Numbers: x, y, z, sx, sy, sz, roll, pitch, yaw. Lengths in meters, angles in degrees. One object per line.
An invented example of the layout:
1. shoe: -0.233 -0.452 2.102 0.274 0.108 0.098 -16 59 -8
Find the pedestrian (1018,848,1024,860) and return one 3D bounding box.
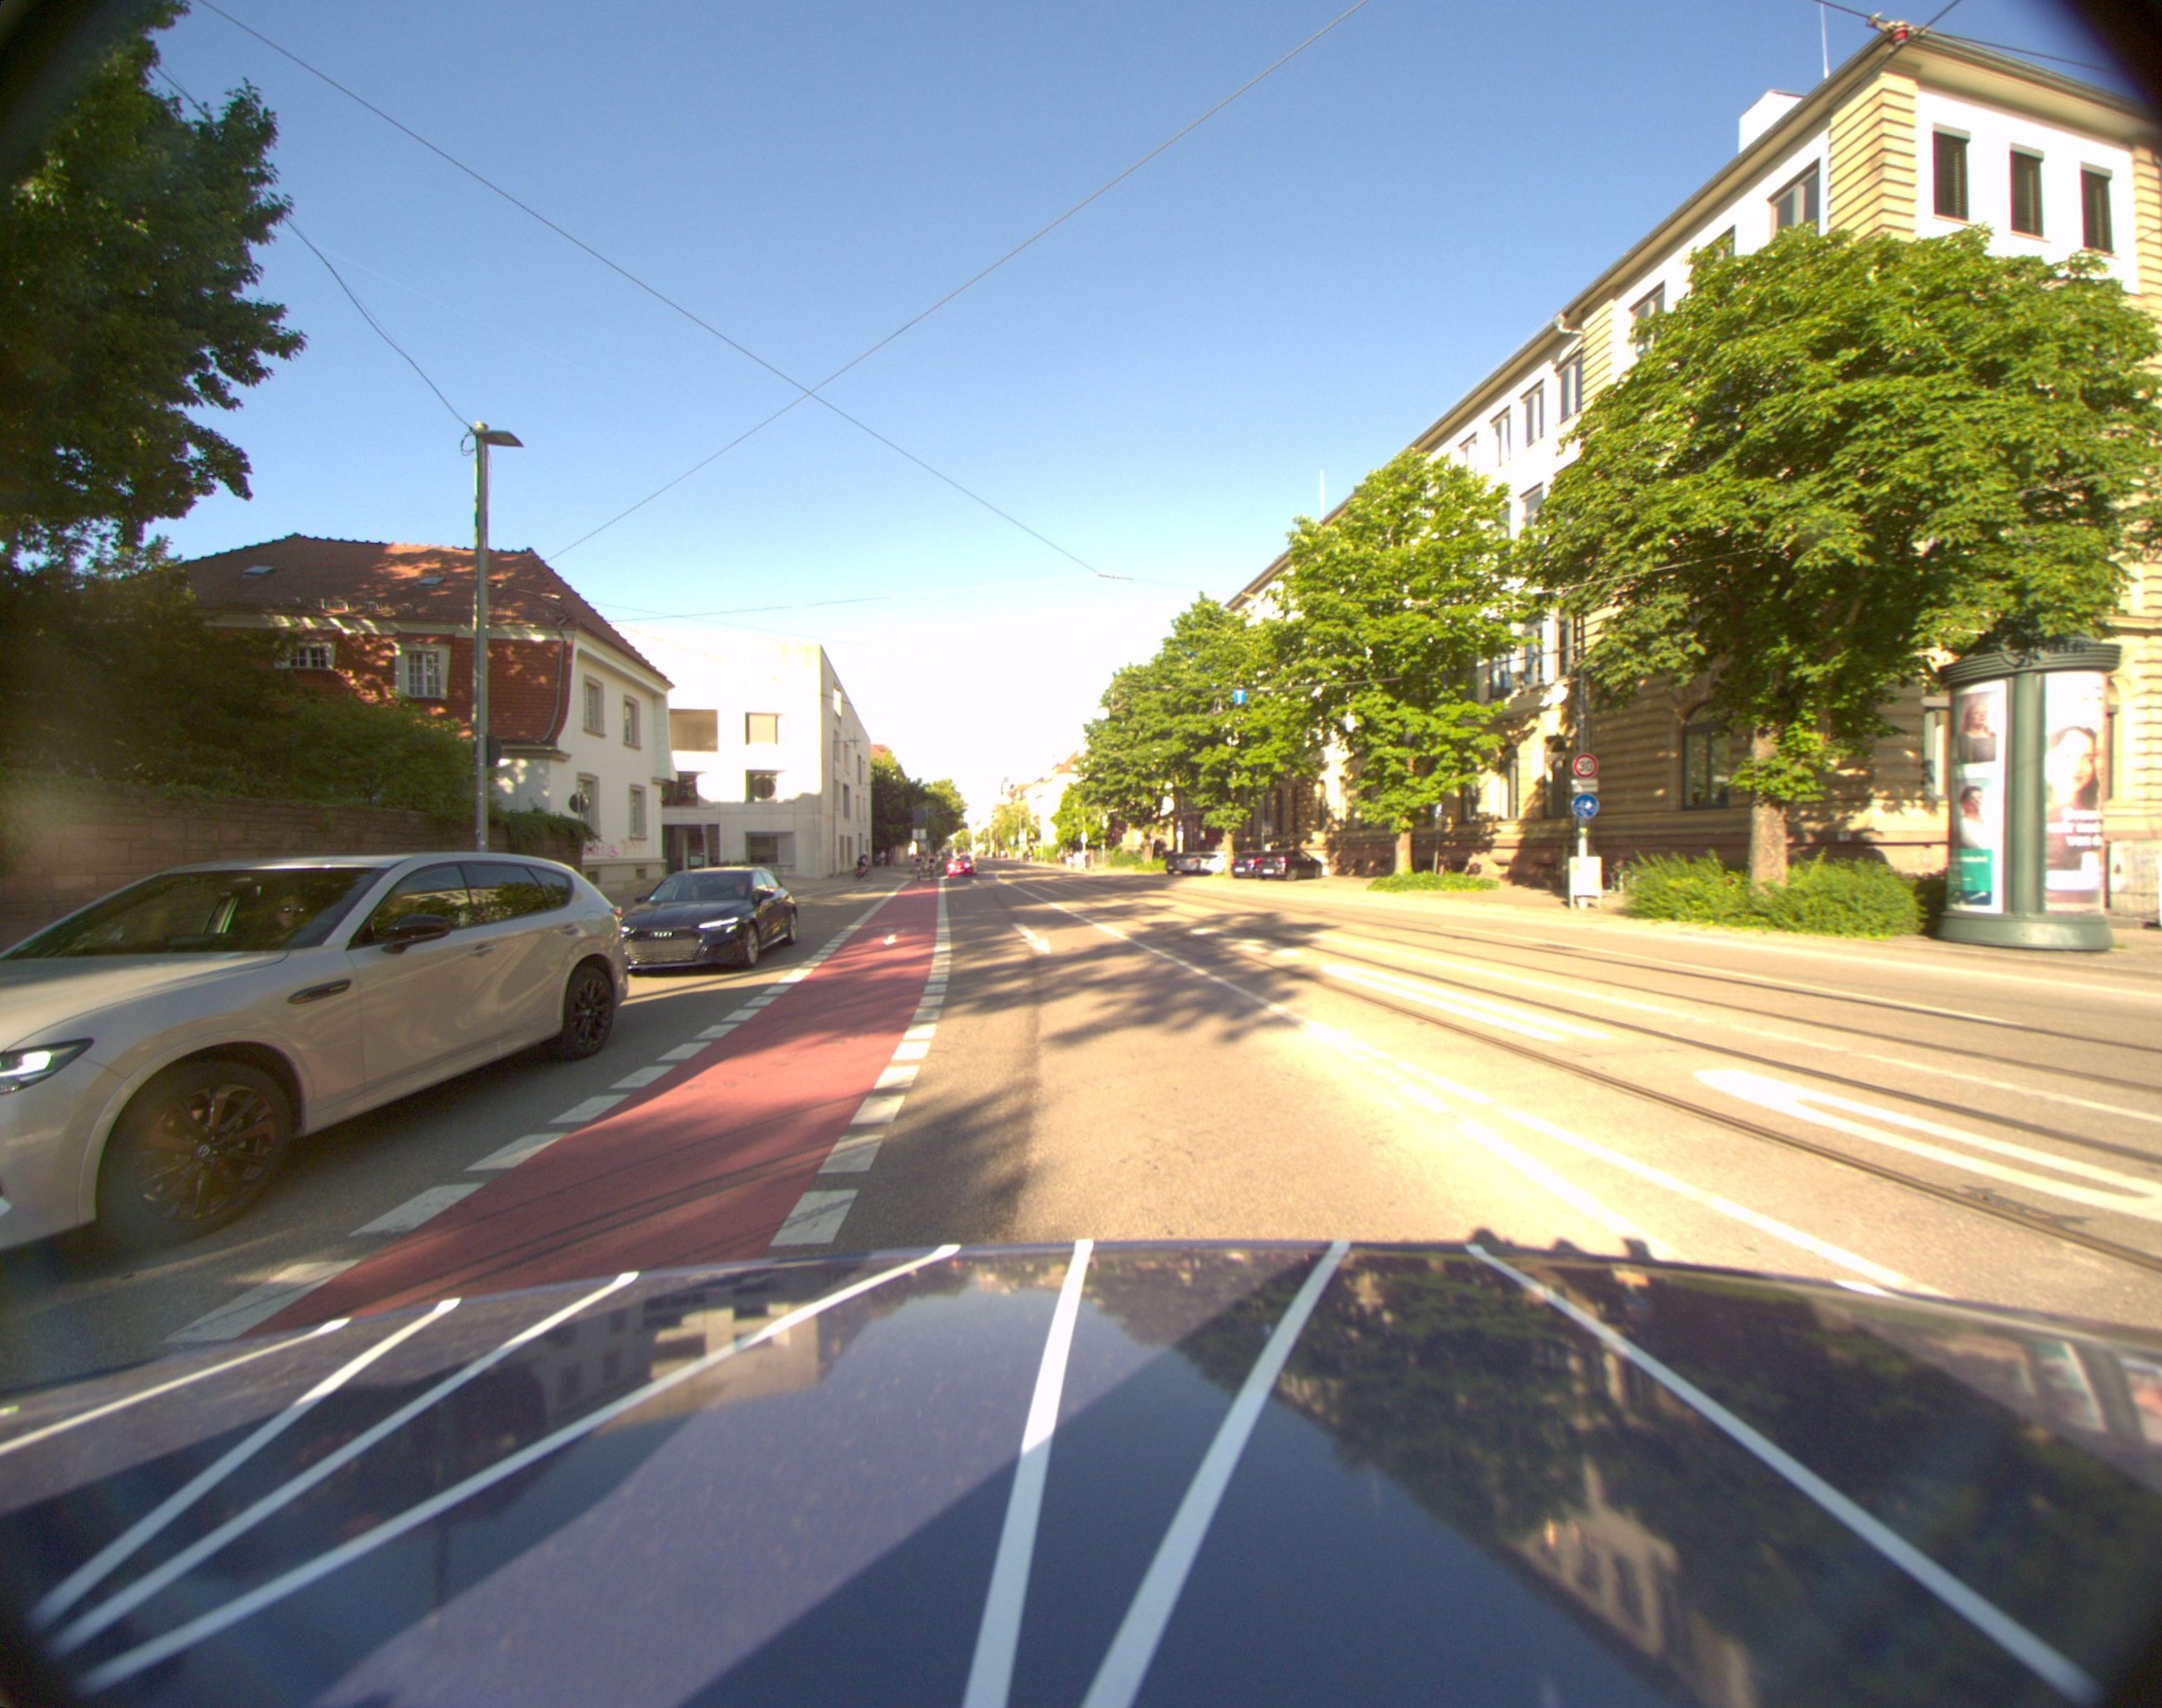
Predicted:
1. pedestrian: -8.334 0.030 105.348 0.675 1.638 0.817 -1 1 0

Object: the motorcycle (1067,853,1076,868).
1. motorcycle: -0.789 0.576 66.853 0.680 1.285 2.265 -2 1 1

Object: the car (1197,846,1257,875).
1. car: 8.890 0.382 46.129 3.657 1.552 1.645 -3 1 -43

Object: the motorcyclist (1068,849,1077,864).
1. motorcyclist: -0.735 0.207 66.696 0.676 1.243 0.853 0 1 -5

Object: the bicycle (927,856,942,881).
1. bicycle: -7.869 0.752 40.813 0.676 1.243 2.454 0 1 -8

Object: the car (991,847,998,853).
1. car: -23.237 -1.003 204.201 1.650 1.552 3.646 -2 1 -12

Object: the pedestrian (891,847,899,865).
1. pedestrian: -16.903 0.145 69.034 0.676 1.638 0.817 -1 1 -9

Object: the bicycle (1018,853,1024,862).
1. bicycle: -8.329 0.446 105.349 0.676 1.243 2.456 -1 1 0

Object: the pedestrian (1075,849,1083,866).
1. pedestrian: -0.191 0.348 76.181 0.676 1.638 0.817 -1 1 -9

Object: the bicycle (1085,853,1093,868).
1. bicycle: 0.650 0.573 64.550 0.676 1.243 2.456 0 1 1

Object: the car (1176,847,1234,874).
1. car: 7.911 0.382 48.360 3.657 1.552 1.645 -3 1 -43

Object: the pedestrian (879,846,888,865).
1. pedestrian: -17.883 0.143 68.933 0.676 1.638 0.817 -1 1 -9

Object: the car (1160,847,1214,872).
1. car: 7.235 0.354 51.771 3.657 1.552 1.645 -3 1 -43

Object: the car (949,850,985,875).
1. car: -7.467 0.522 50.028 1.649 1.552 3.650 -2 1 1

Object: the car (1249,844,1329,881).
1. car: 10.383 0.400 37.754 4.189 1.621 1.841 -3 1 -43

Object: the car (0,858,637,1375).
1. car: -4.806 0.934 4.473 1.946 1.682 4.529 -2 1 -5

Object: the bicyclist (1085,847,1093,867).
1. bicyclist: 0.643 0.252 64.445 0.675 1.638 1.029 0 1 0

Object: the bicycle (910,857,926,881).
1. bicycle: -9.080 0.810 42.433 0.676 1.243 2.454 0 1 -8

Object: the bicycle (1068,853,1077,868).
1. bicycle: -0.748 0.535 66.770 0.676 1.243 2.455 0 1 -5

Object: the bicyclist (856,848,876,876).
1. bicyclist: -12.447 0.462 44.071 0.674 1.638 1.030 0 1 17

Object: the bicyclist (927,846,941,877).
1. bicyclist: -7.867 0.394 40.784 0.676 1.638 1.028 0 1 -8

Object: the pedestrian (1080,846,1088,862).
1. pedestrian: 0.341 0.025 77.112 0.676 1.638 0.817 -1 1 -9

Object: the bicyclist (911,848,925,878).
1. bicyclist: -9.074 0.508 42.339 0.676 1.638 1.028 0 1 -8

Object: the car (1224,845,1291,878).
1. car: 9.419 0.384 40.414 3.657 1.552 1.645 -3 1 -43

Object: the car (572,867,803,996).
1. car: -5.620 0.994 11.481 1.789 1.425 3.997 -2 1 -8

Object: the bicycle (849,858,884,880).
1. bicycle: -12.433 0.850 44.127 0.675 1.243 2.460 0 1 17
